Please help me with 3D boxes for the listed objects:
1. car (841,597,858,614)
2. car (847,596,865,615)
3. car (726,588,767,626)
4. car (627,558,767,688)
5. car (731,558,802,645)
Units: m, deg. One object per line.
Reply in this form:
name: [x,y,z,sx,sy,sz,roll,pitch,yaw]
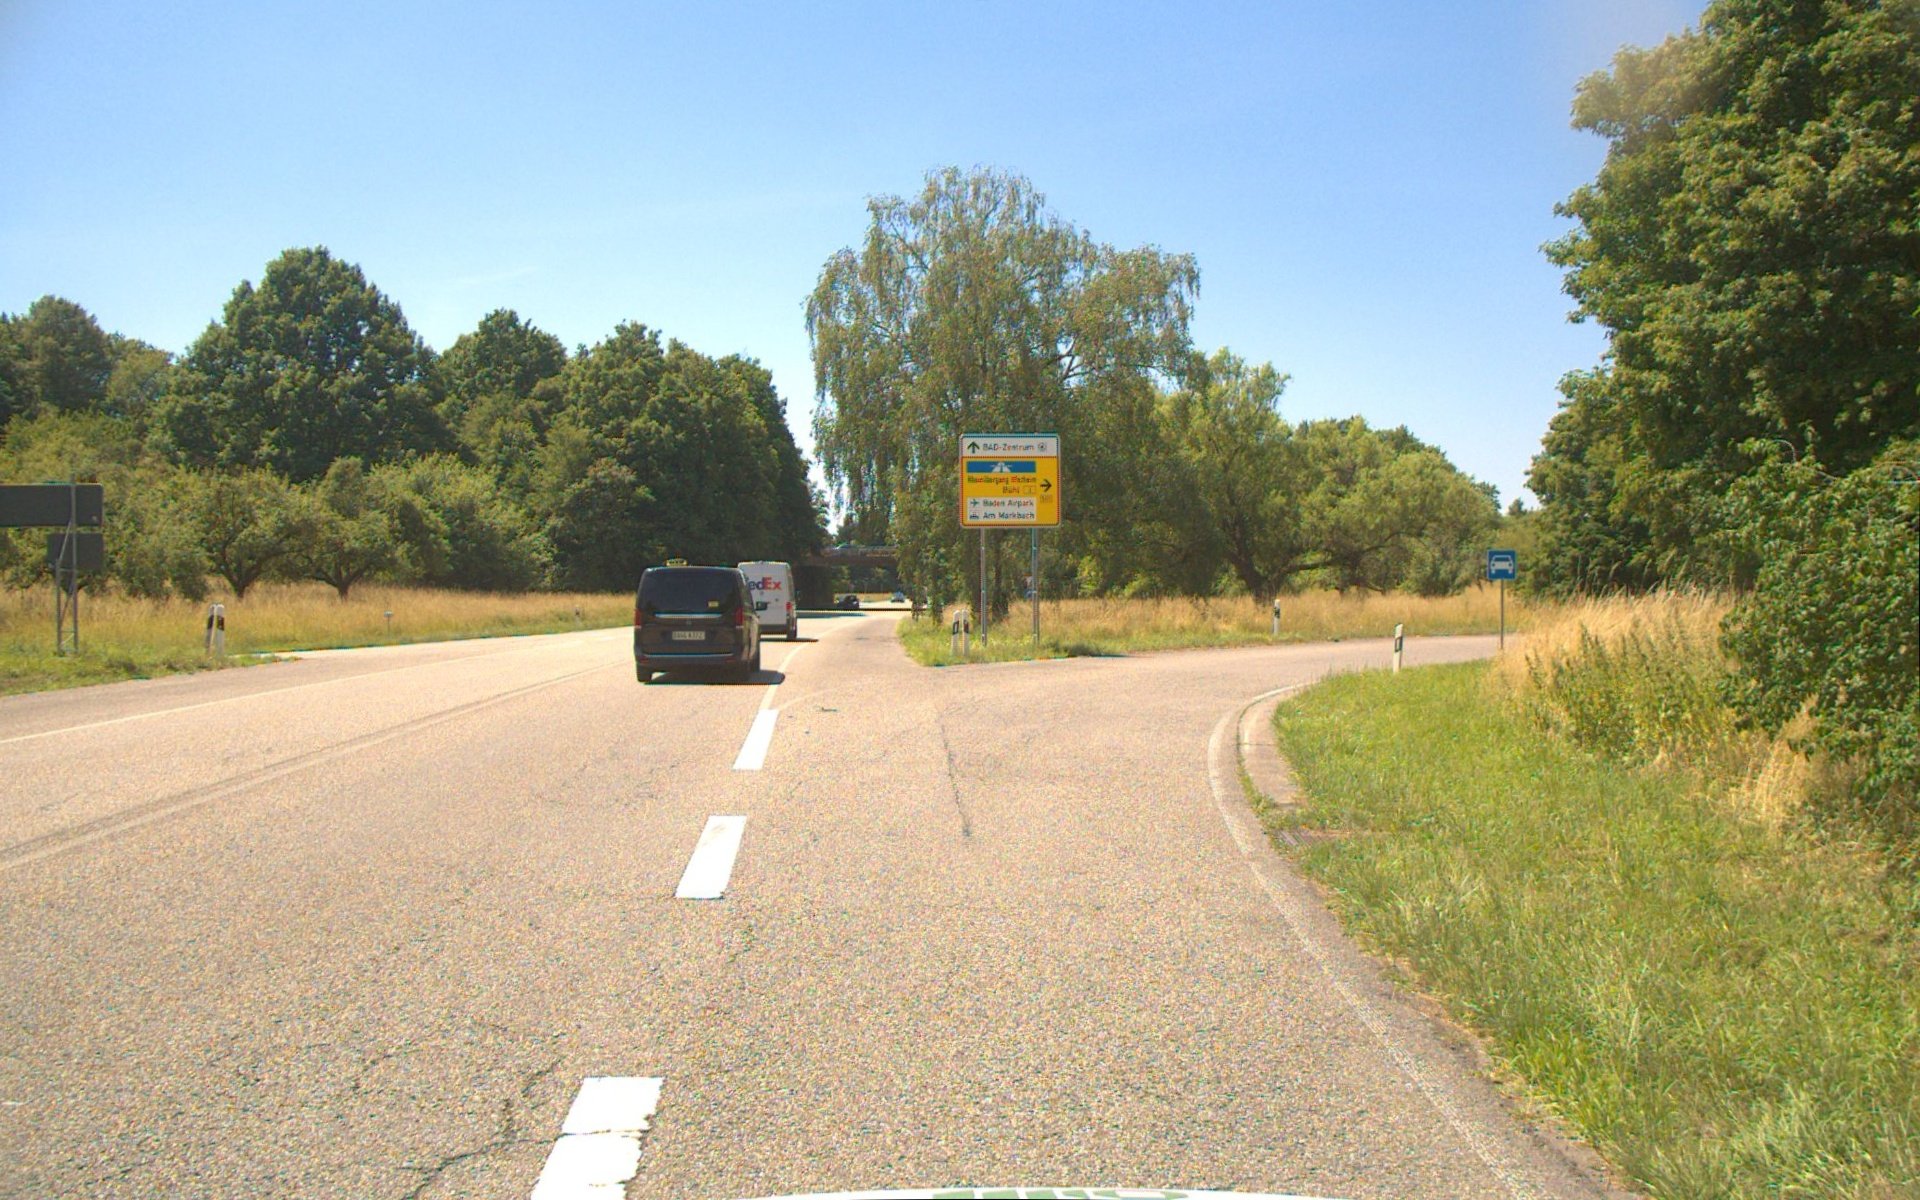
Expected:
car: [-13.612,0.650,203.326,1.954,2.049,3.996,3,0,-4]
car: [-11.873,0.633,188.337,1.954,2.049,3.996,3,0,-4]
car: [-12.375,0.374,95.974,1.954,2.049,3.998,3,0,-2]
car: [-4.417,0.356,28.442,1.955,1.987,5.000,2,0,-5]
car: [-6.524,0.041,56.176,2.037,2.750,4.663,2,0,-4]
